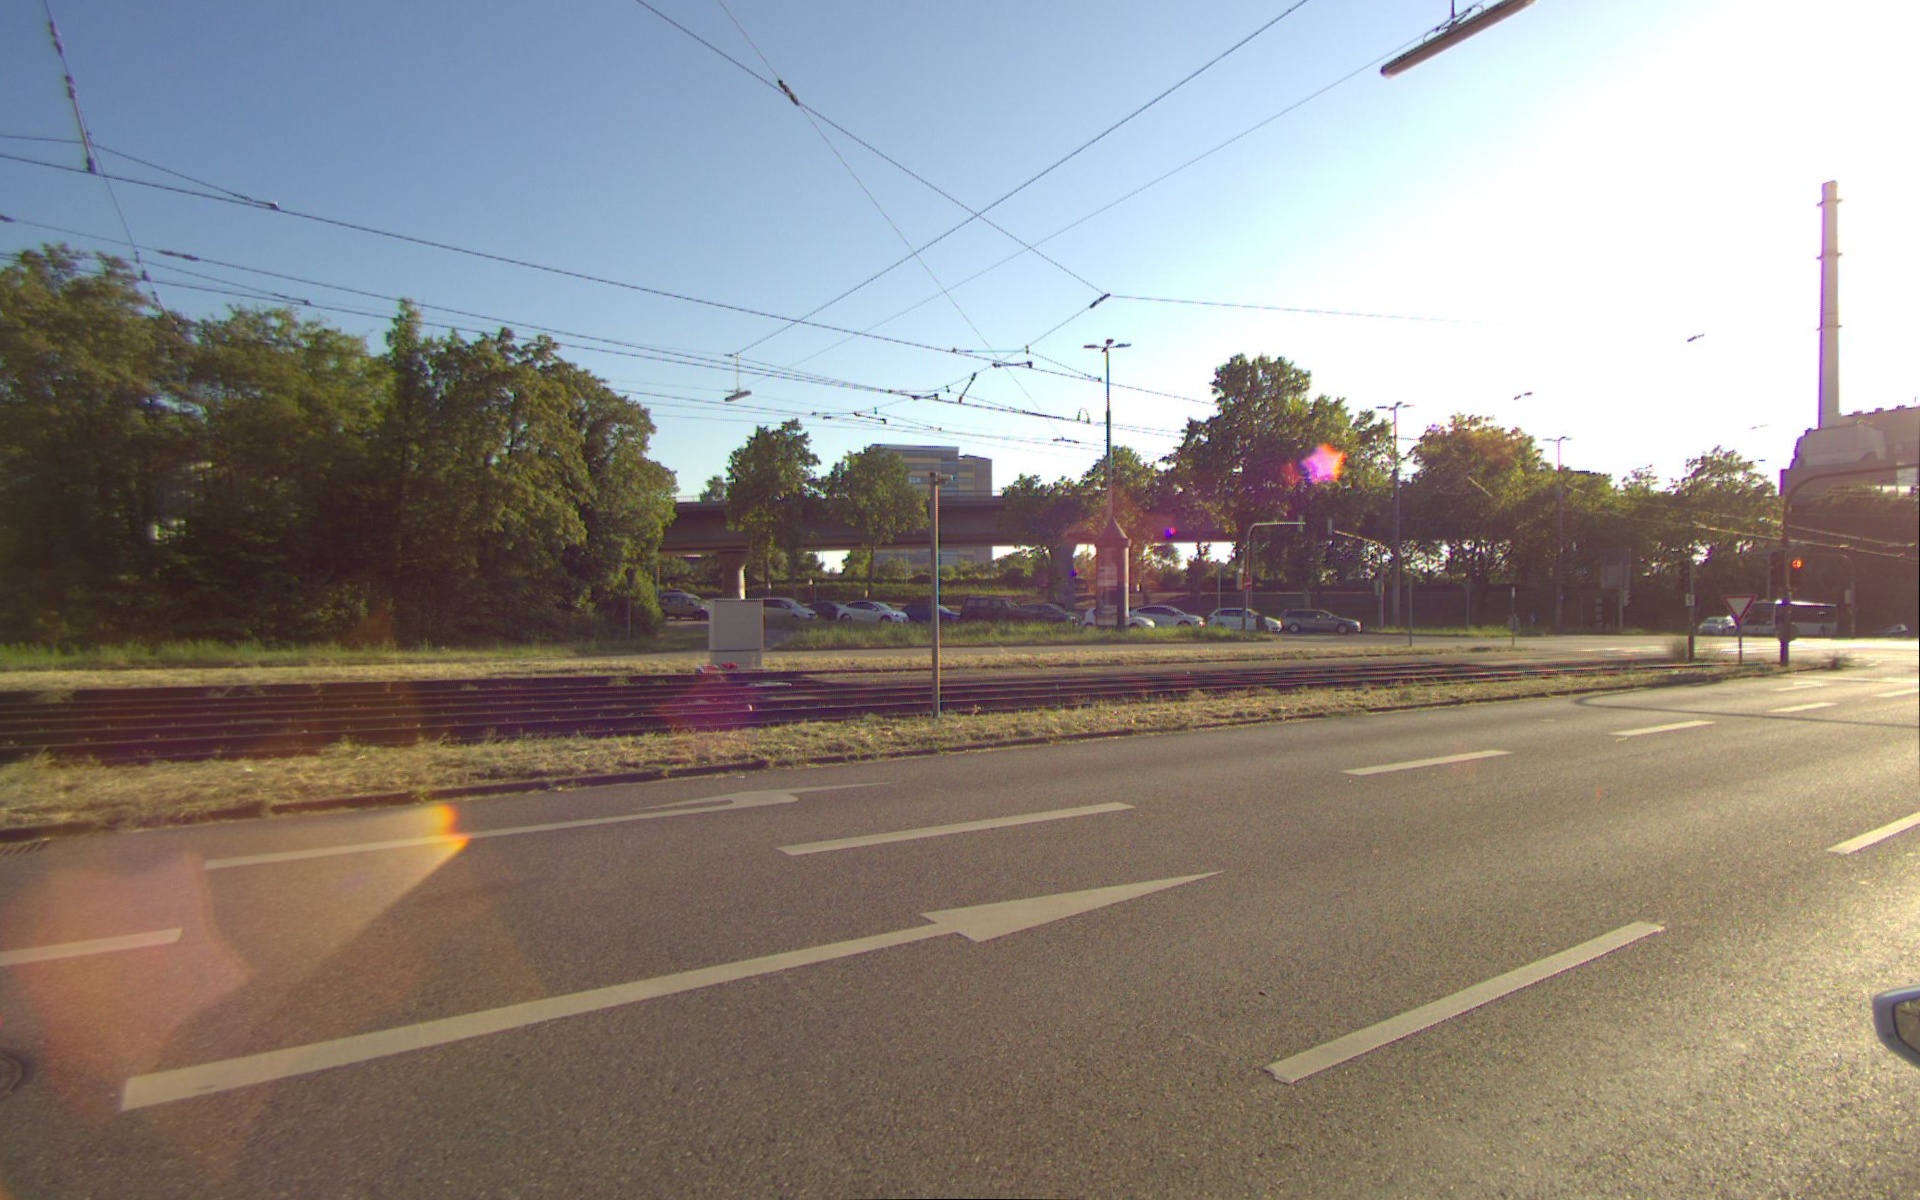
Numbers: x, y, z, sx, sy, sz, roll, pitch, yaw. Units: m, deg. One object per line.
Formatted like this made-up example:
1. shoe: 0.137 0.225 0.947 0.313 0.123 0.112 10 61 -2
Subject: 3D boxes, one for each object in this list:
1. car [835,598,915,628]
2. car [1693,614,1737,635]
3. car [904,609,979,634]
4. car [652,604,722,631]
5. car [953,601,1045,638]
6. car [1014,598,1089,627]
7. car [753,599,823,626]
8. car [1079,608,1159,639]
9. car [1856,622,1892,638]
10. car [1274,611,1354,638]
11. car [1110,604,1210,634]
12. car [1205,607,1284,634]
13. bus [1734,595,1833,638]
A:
1. car: -5.198 0.747 61.428 4.679 1.596 1.691 2 2 27
2. car: 57.182 1.826 76.078 3.970 1.532 1.595 1 0 -37
3. car: -1.187 1.364 63.965 4.539 1.478 1.692 1 0 26
4. car: -18.399 1.145 67.704 4.326 1.701 1.694 1 0 17
5. car: 2.255 1.080 57.527 4.850 2.017 2.035 1 0 25
6. car: 5.471 0.725 60.077 4.172 1.596 1.691 1 0 29
7. car: -11.043 0.800 64.307 4.206 1.653 1.692 1 0 25
8. car: 8.622 1.236 54.520 3.930 1.596 1.690 1 0 32
9. car: 87.072 2.833 95.630 3.965 1.438 1.597 1 0 -33
10. car: 21.069 1.438 59.810 4.361 1.423 1.669 1 0 25
11. car: 11.279 1.056 56.792 5.275 1.596 1.736 1 0 33
12. car: 16.437 1.173 58.072 4.120 1.423 1.668 1 0 28
13. bus: 68.721 1.427 83.690 12.777 3.171 2.529 2 -2 -33
